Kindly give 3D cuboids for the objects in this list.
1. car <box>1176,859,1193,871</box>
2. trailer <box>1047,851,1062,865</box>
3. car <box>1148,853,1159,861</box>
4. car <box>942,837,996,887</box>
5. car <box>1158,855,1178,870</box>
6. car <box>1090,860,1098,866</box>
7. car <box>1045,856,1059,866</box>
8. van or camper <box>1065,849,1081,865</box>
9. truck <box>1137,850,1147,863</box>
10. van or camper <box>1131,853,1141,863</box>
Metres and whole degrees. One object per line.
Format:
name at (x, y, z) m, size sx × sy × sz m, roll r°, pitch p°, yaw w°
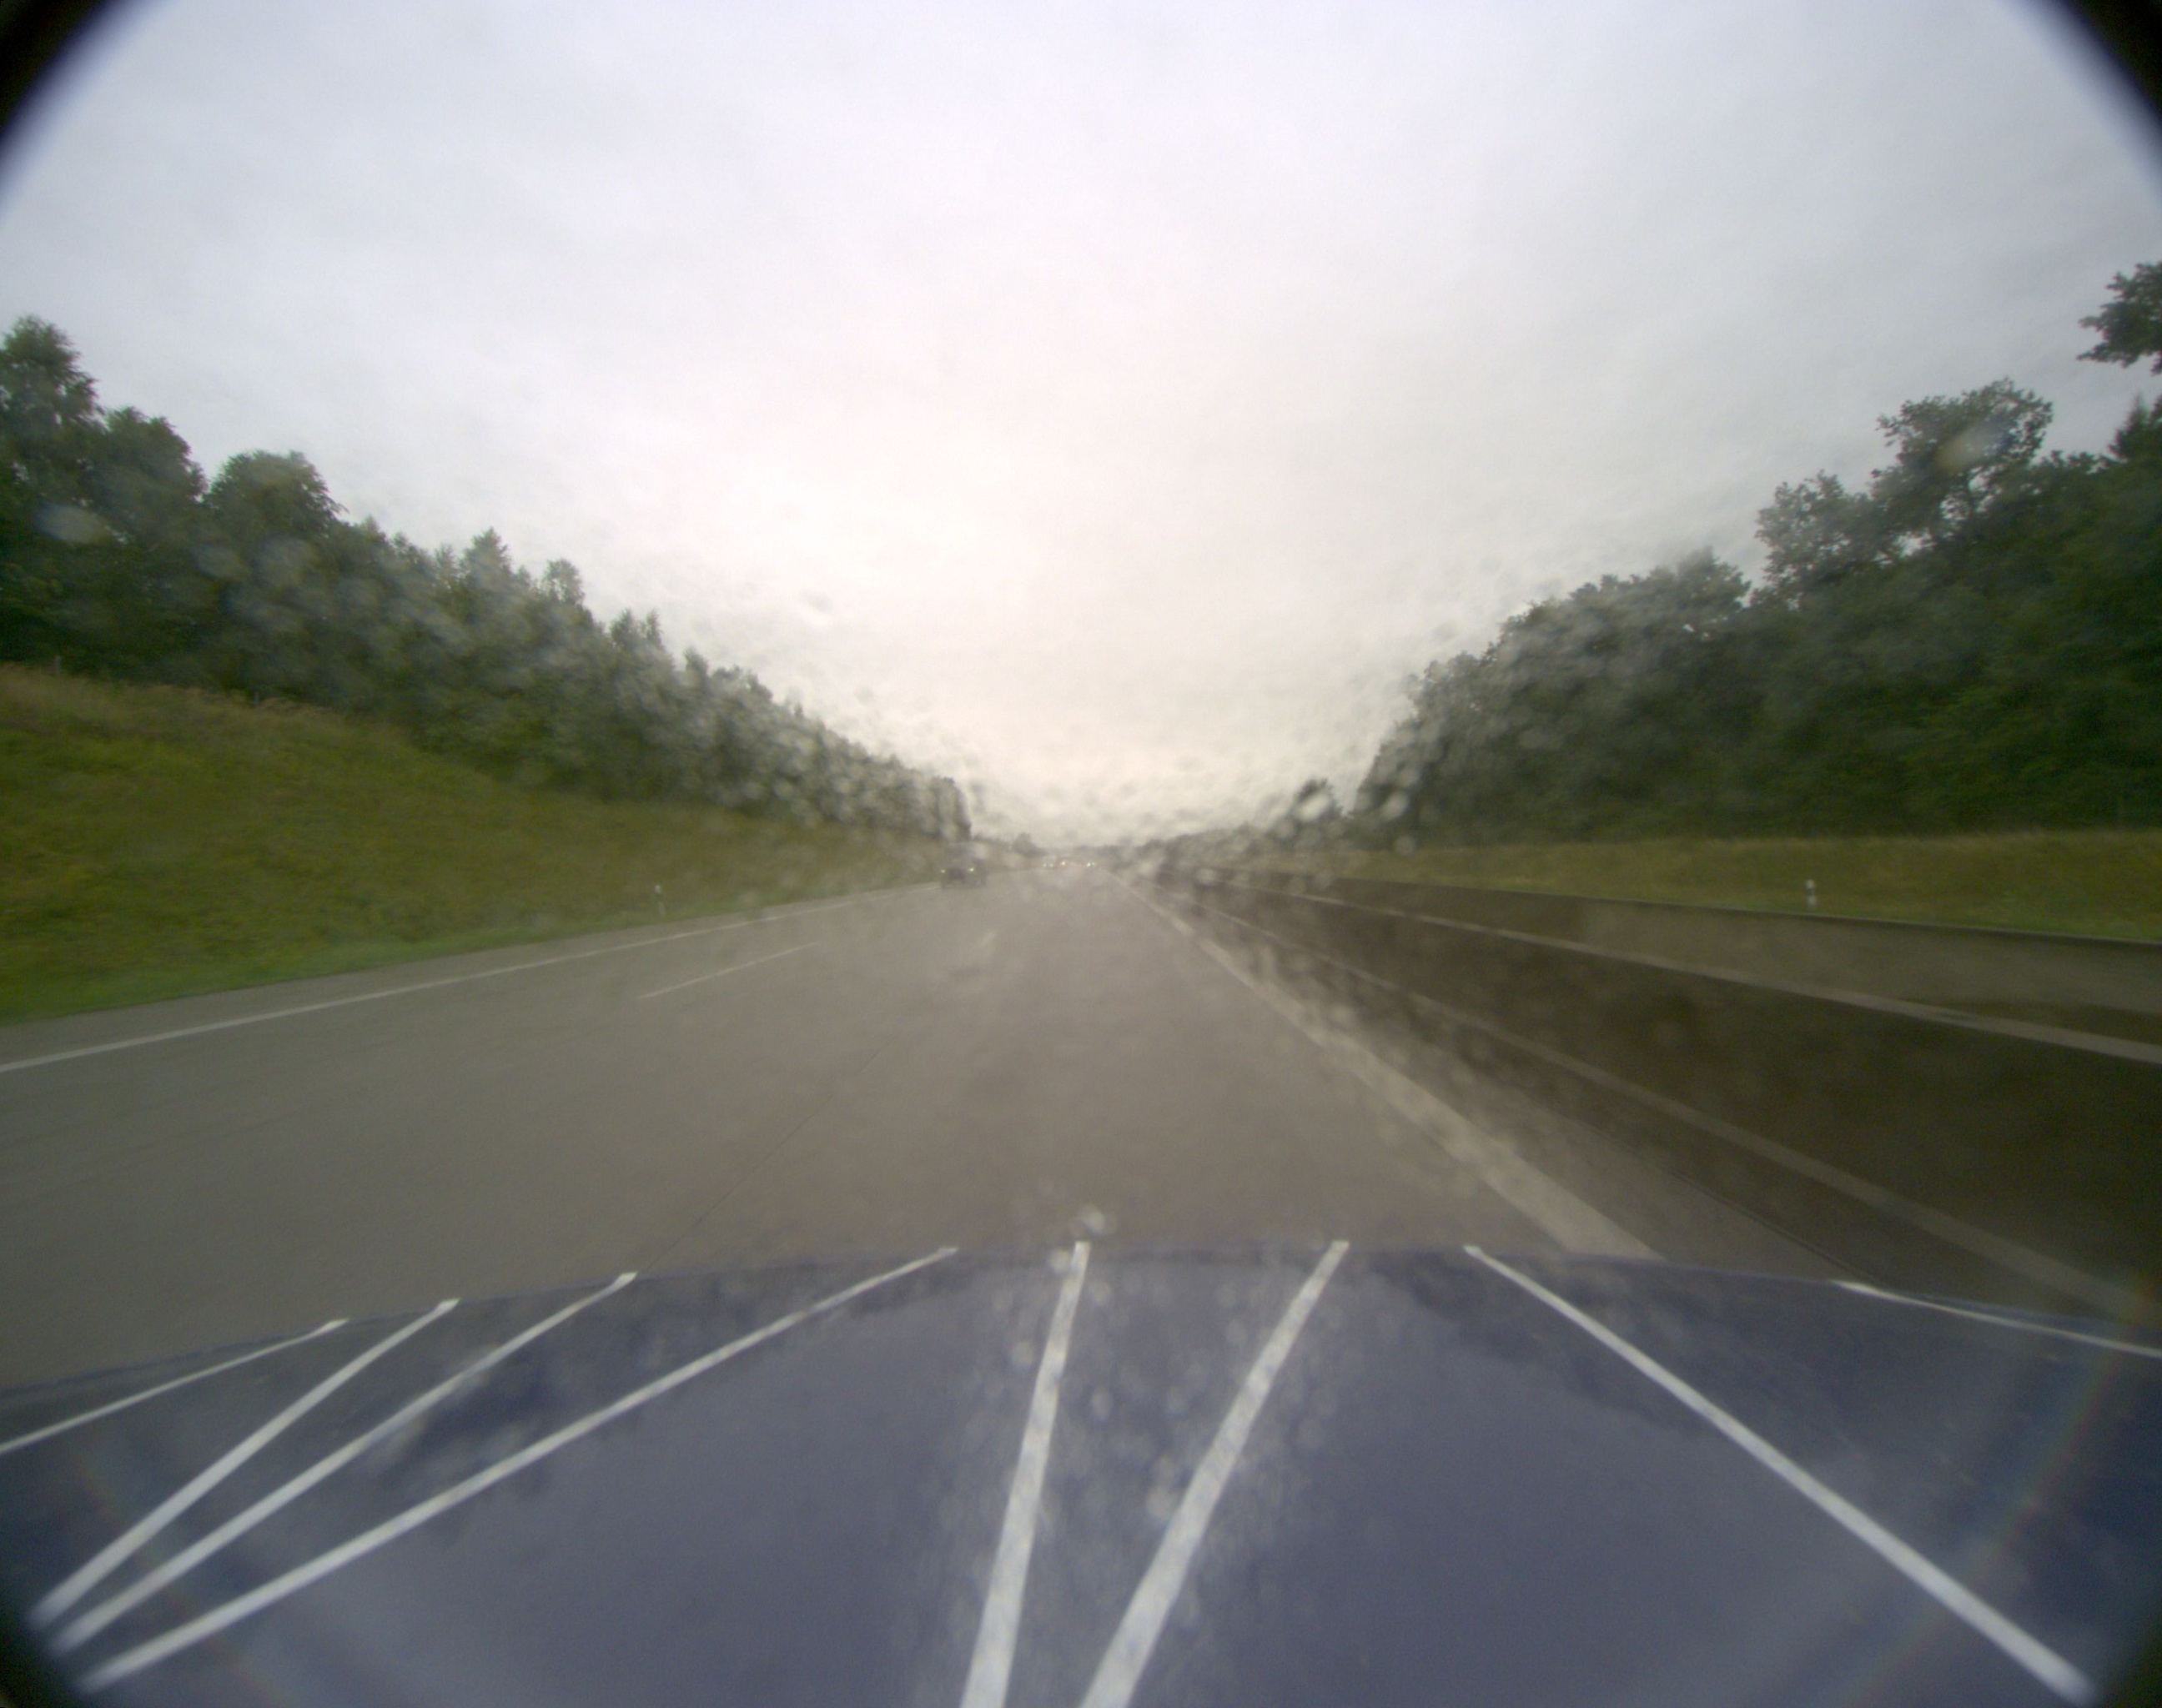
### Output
car at (14.430, 1.533, 106.273) m, size 1.884 × 1.655 × 4.687 m, roll 0°, pitch 1°, yaw 1°
trailer at (-4.899, 0.664, 139.818) m, size 2.348 × 2.445 × 5.940 m, roll 0°, pitch 0°, yaw 2°
car at (14.878, 0.651, 156.968) m, size 1.884 × 1.655 × 4.687 m, roll 0°, pitch 0°, yaw 1°
car at (-6.562, 0.471, 45.290) m, size 1.945 × 2.643 × 6.587 m, roll -2°, pitch 0°, yaw 2°
car at (9.507, 0.912, 83.326) m, size 1.777 × 1.566 × 4.687 m, roll 0°, pitch 0°, yaw 1°
car at (2.923, 2.057, 175.589) m, size 1.733 × 1.450 × 4.672 m, roll -1°, pitch 0°, yaw 1°
car at (-5.045, 1.209, 133.876) m, size 1.998 × 1.575 × 5.954 m, roll -2°, pitch 0°, yaw 2°
van or camper at (-1.263, 0.447, 121.873) m, size 2.233 × 2.537 × 7.950 m, roll 0°, pitch 0°, yaw 2°
truck at (19.318, 0.734, 240.936) m, size 2.591 × 4.116 × 8.592 m, roll 1°, pitch 0°, yaw 0°
van or camper at (15.100, 1.117, 208.357) m, size 2.418 × 2.720 × 7.713 m, roll 0°, pitch 0°, yaw 1°
